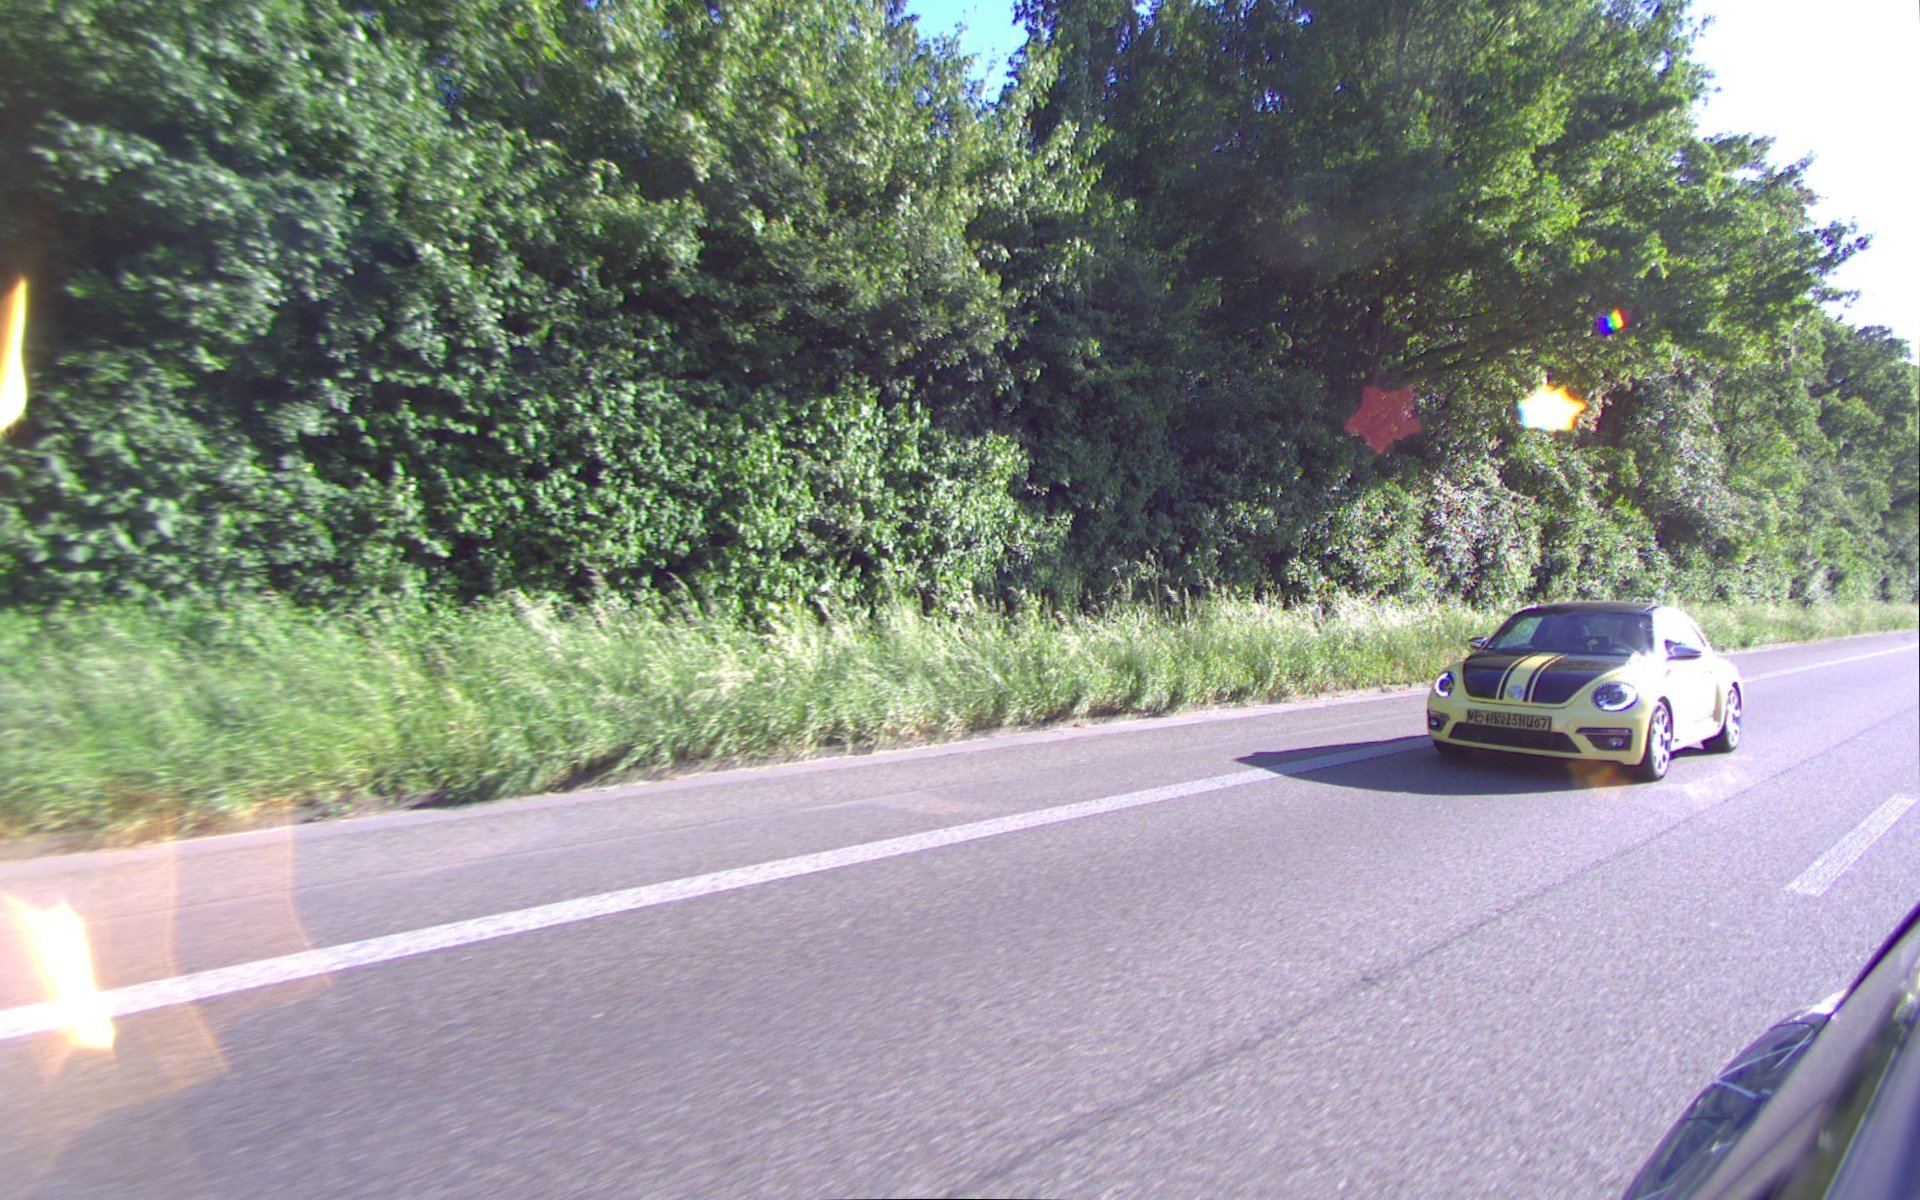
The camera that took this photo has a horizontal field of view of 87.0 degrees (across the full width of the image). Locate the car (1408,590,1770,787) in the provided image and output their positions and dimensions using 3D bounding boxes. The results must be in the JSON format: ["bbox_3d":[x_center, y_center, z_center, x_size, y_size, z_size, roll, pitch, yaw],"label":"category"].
[{"bbox_3d":[6.254,0.665,9.849,4.281,1.480,1.882,0,1,-42],"label":"car"}]
